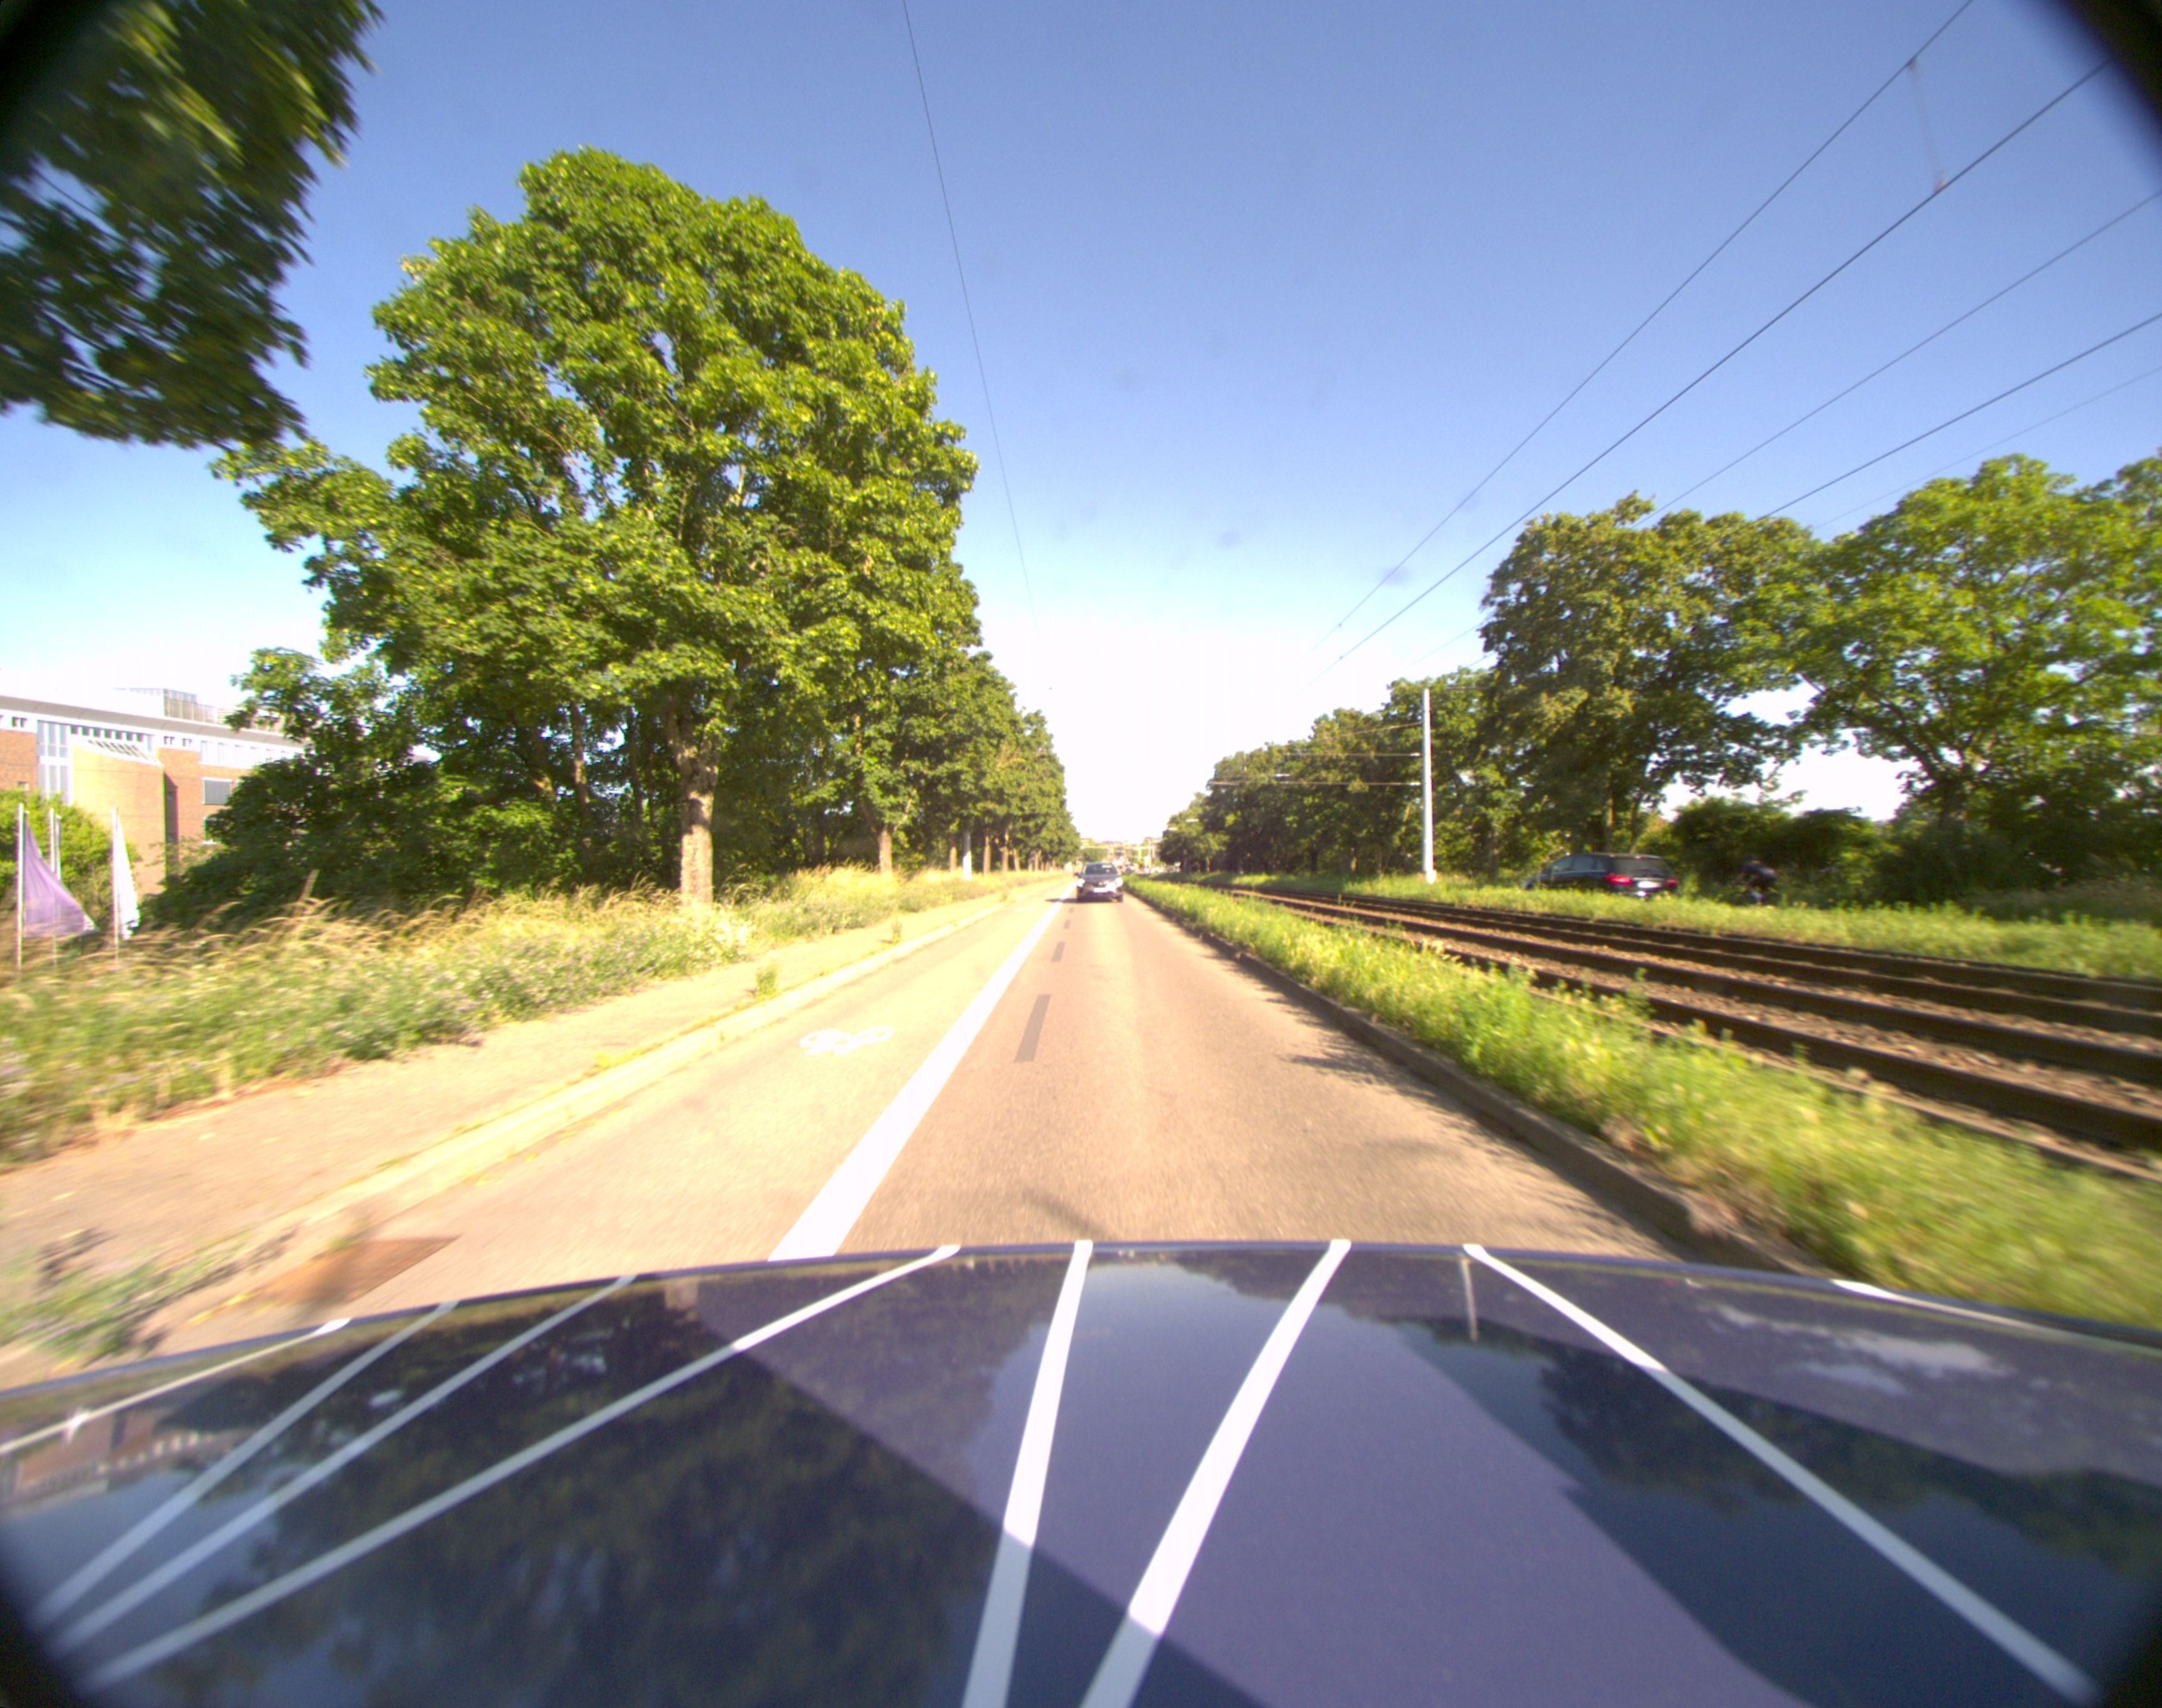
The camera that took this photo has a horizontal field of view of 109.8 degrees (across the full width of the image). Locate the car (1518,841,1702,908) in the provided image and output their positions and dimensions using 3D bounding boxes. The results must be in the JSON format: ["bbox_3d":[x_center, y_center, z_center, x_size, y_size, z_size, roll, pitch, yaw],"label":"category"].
[{"bbox_3d":[13.602,0.502,19.924,1.814,1.480,4.407,-2,-1,2],"label":"car"}]

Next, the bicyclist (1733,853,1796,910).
[{"bbox_3d":[16.320,0.656,18.163,0.584,1.302,0.987,-2,0,1],"label":"bicyclist"}]

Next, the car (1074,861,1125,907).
[{"bbox_3d":[0.720,1.097,29.635,1.814,1.625,4.710,0,0,1],"label":"car"}]

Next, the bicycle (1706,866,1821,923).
[{"bbox_3d":[16.332,0.926,18.280,0.591,1.254,2.427,-2,-1,1],"label":"bicycle"}]
